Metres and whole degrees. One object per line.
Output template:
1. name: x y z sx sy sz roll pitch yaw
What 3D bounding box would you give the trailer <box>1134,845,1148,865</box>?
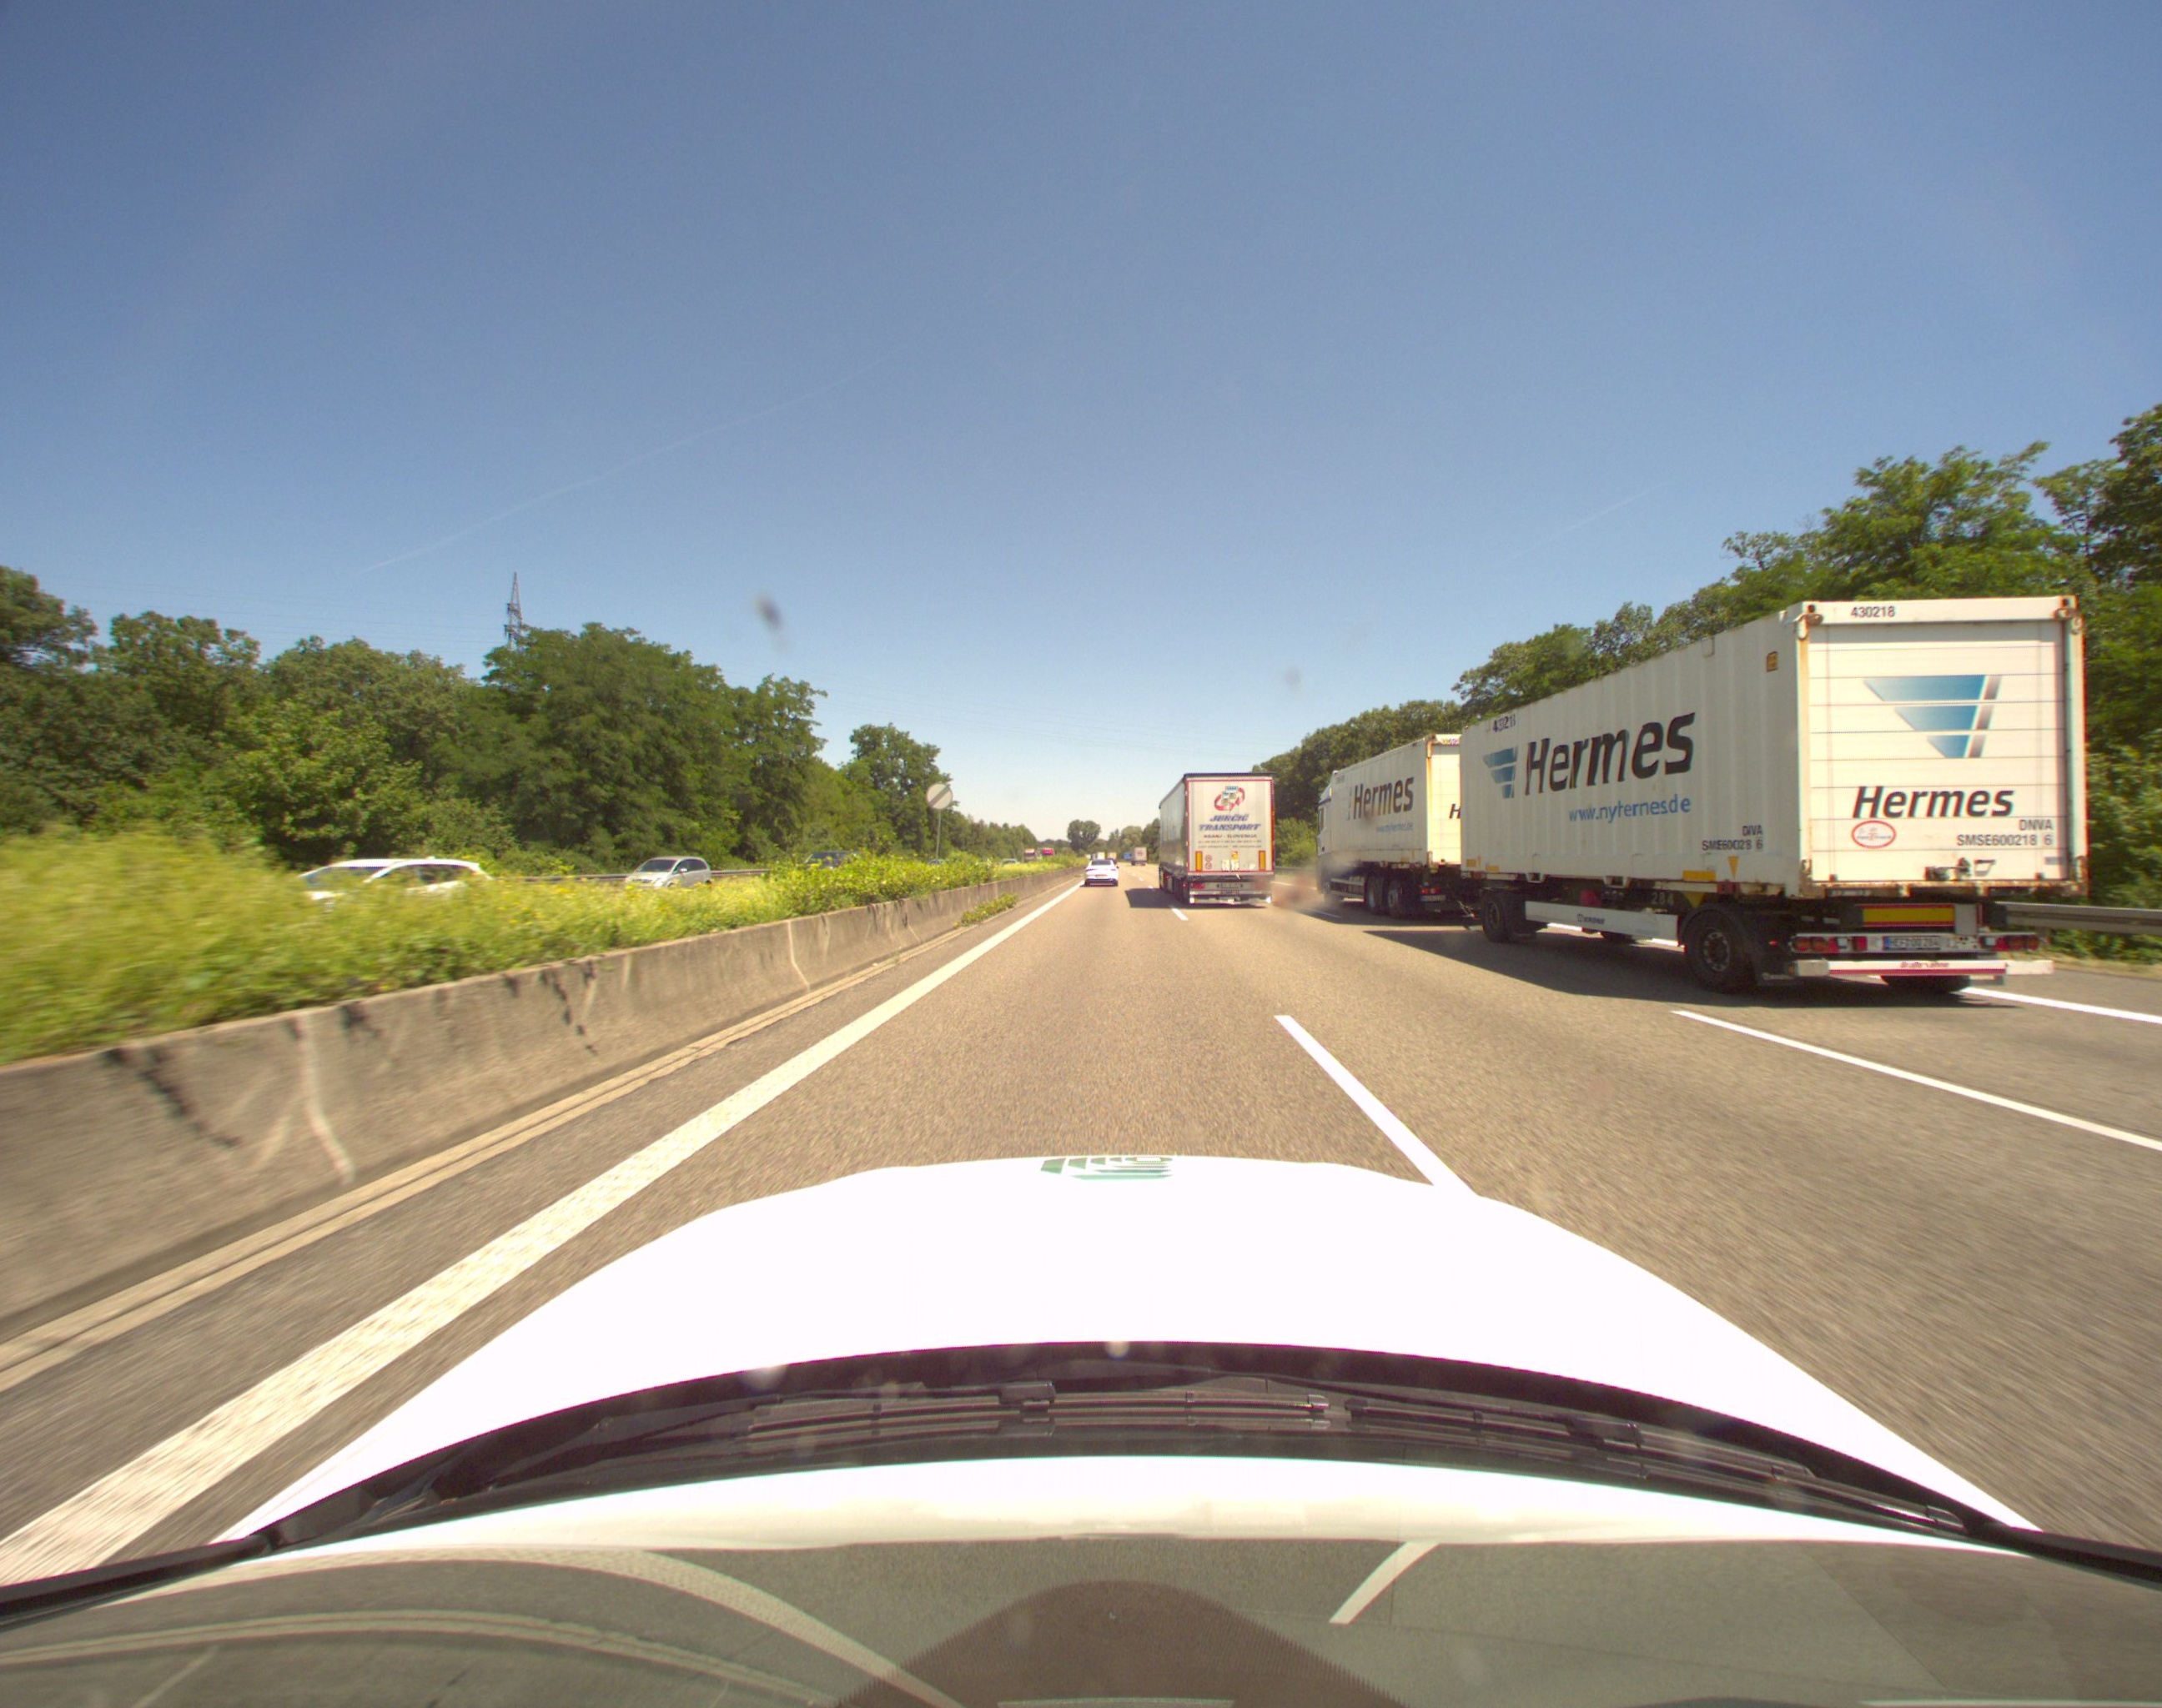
1. trailer: 13.276 0.299 180.211 2.614 4.261 14.066 0 0 2

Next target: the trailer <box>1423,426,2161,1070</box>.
1. trailer: 7.961 -0.646 10.734 2.545 4.059 11.268 0 0 2

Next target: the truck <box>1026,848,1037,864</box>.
1. truck: -11.550 0.525 191.504 2.349 3.601 4.163 -1 -1 0

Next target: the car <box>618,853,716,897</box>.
1. car: -15.849 0.774 31.435 1.564 1.554 4.083 -1 0 2

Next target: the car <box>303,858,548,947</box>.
1. car: -12.956 0.871 16.470 1.629 1.574 4.002 -1 0 2

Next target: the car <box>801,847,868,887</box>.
1. car: -12.304 0.636 40.922 1.690 1.843 4.891 0 0 2

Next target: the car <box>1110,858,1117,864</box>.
1. car: 9.011 2.048 225.458 1.717 1.585 4.001 -1 0 1

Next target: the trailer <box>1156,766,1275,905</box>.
1. trailer: 4.452 -0.481 30.053 2.729 3.975 13.662 0 0 3

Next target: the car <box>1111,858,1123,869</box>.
1. car: 5.904 1.553 133.643 1.986 1.772 4.002 -1 0 2

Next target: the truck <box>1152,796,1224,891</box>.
1. truck: 4.758 -0.431 37.370 2.712 3.975 6.505 0 0 2

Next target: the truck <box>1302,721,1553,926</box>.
1. truck: 8.426 -0.576 21.774 2.516 4.130 10.674 0 0 2

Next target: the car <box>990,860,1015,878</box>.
1. car: -7.417 1.433 77.136 1.987 1.596 3.999 -1 0 0

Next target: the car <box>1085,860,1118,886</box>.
1. car: 1.147 0.996 44.398 1.709 1.369 3.377 0 0 2

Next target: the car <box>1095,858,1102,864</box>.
1. car: 4.944 2.021 231.108 1.717 1.783 4.001 -1 0 1
